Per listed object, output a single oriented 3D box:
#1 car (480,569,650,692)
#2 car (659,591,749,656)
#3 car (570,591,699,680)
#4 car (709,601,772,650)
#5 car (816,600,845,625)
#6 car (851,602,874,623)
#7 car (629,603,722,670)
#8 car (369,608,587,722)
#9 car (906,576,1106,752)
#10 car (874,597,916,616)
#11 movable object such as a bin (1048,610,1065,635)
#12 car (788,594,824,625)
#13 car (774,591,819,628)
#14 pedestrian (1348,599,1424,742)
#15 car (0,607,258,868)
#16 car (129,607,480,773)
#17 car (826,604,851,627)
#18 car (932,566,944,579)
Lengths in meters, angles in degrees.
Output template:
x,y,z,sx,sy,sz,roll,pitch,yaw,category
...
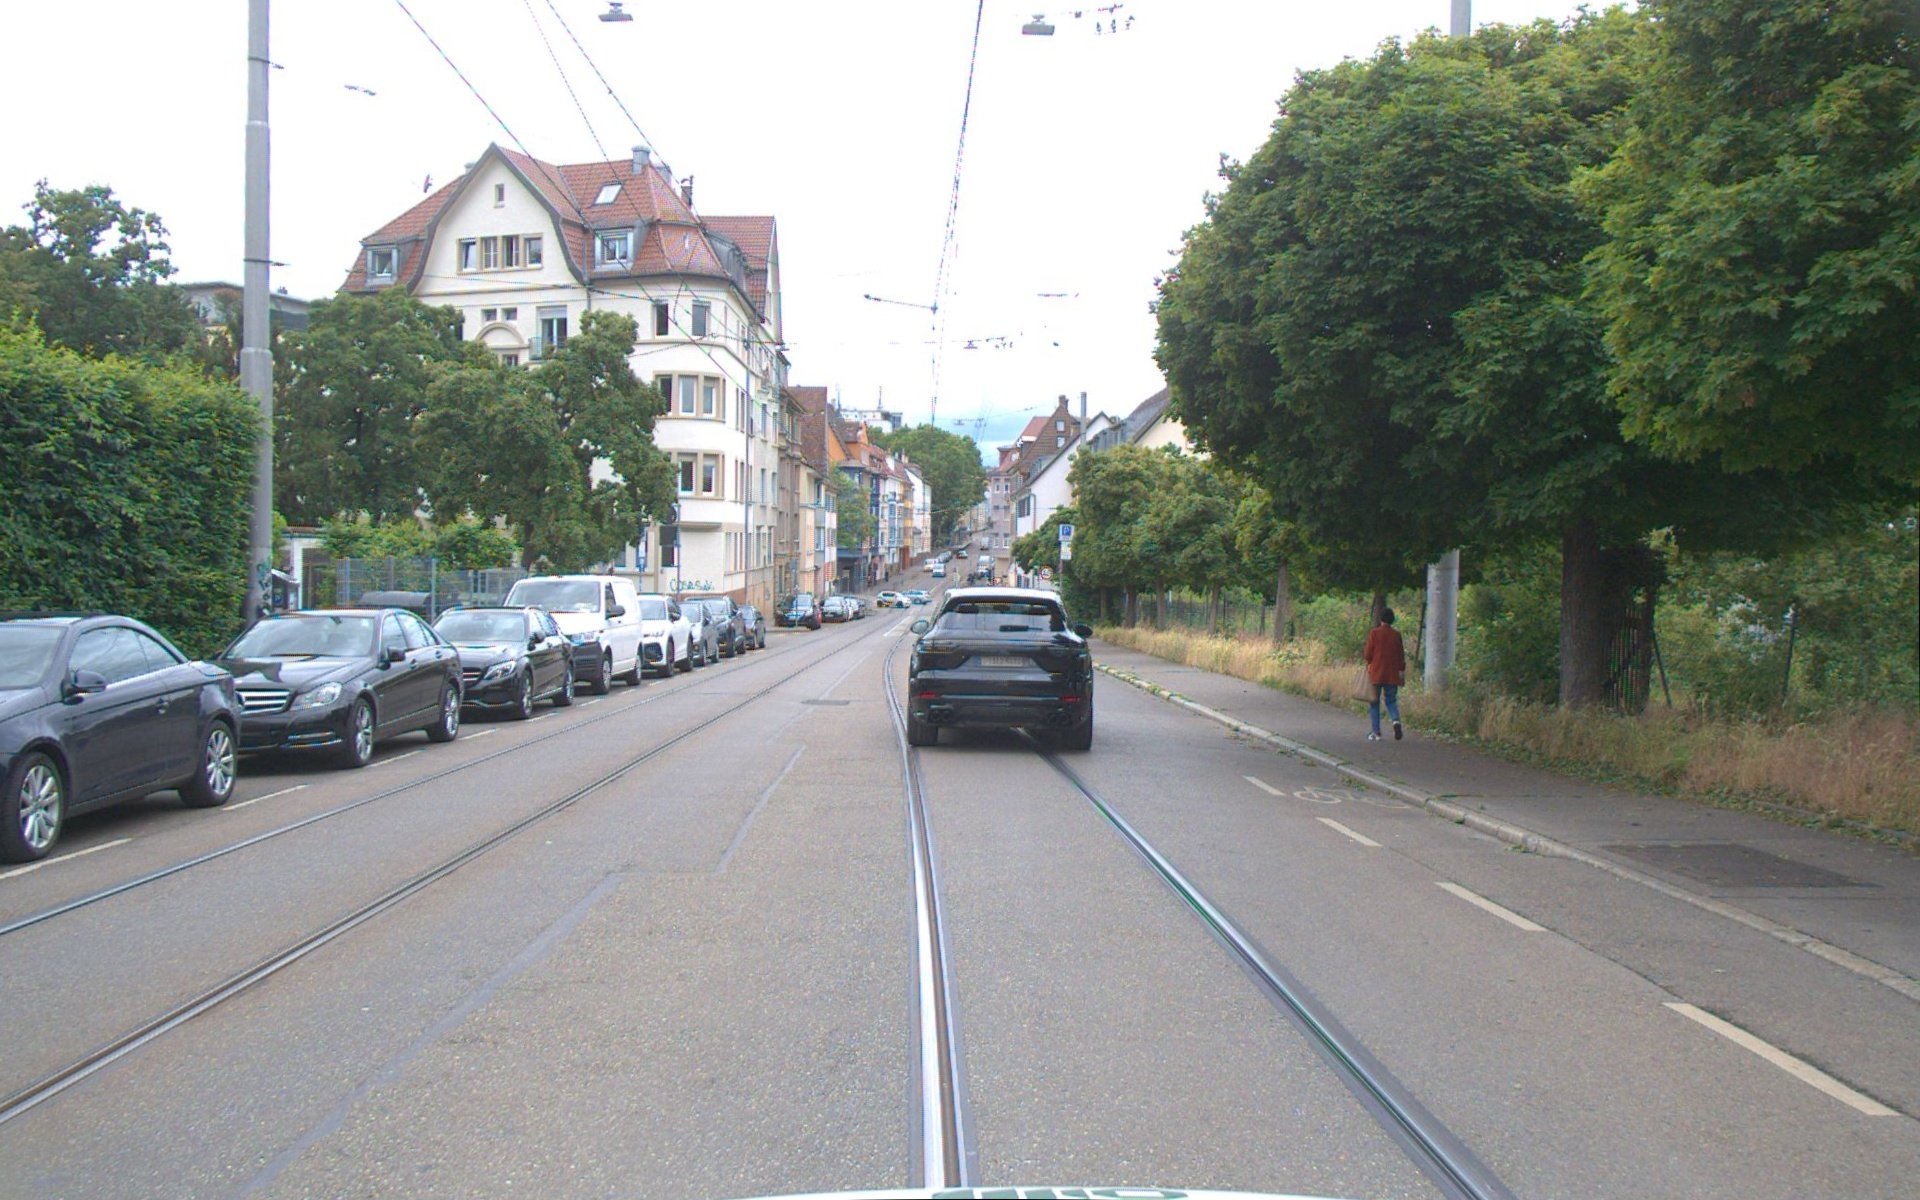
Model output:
x,y,z,sx,sy,sz,roll,pitch,yaw,category
-6.687,0.530,28.501,1.929,1.946,4.732,0,-1,-2,car
-7.059,0.676,46.013,1.929,1.716,4.442,0,-1,-2,car
-6.697,0.735,34.491,1.929,1.716,4.631,0,-1,-2,car
-6.946,0.826,52.646,1.588,1.503,4.154,0,-1,-2,car
-7.959,0.760,102.053,1.588,1.489,4.031,0,-1,-2,car
-7.173,0.937,121.475,1.588,1.499,4.553,0,-1,-2,car
-6.796,0.881,39.827,1.703,1.535,3.867,0,-1,-2,car
-6.466,0.848,22.706,1.803,1.411,4.515,0,-1,-2,car
0.418,0.646,18.343,1.953,1.705,3.999,1,-1,-1,car
-6.620,0.678,167.527,3.747,1.800,1.999,1,-1,22,car
5.010,1.165,85.865,0.776,1.239,0.788,1,-1,-5,movable object such as a bin
-7.726,0.504,83.407,1.588,1.489,3.743,0,-1,-2,car
-7.597,0.473,77.311,1.830,1.675,4.400,0,-1,-2,car
5.052,0.824,19.648,0.700,1.649,0.718,1,-1,-1,pedestrian
-6.200,0.782,10.585,1.754,1.429,4.159,0,-1,-2,car
-6.204,0.807,16.269,1.803,1.411,4.438,0,-1,-2,car
-8.273,1.067,113.009,1.588,1.489,3.683,0,-1,-2,car
-3.227,-4.006,241.636,1.715,1.790,4.253,1,-1,0,car
